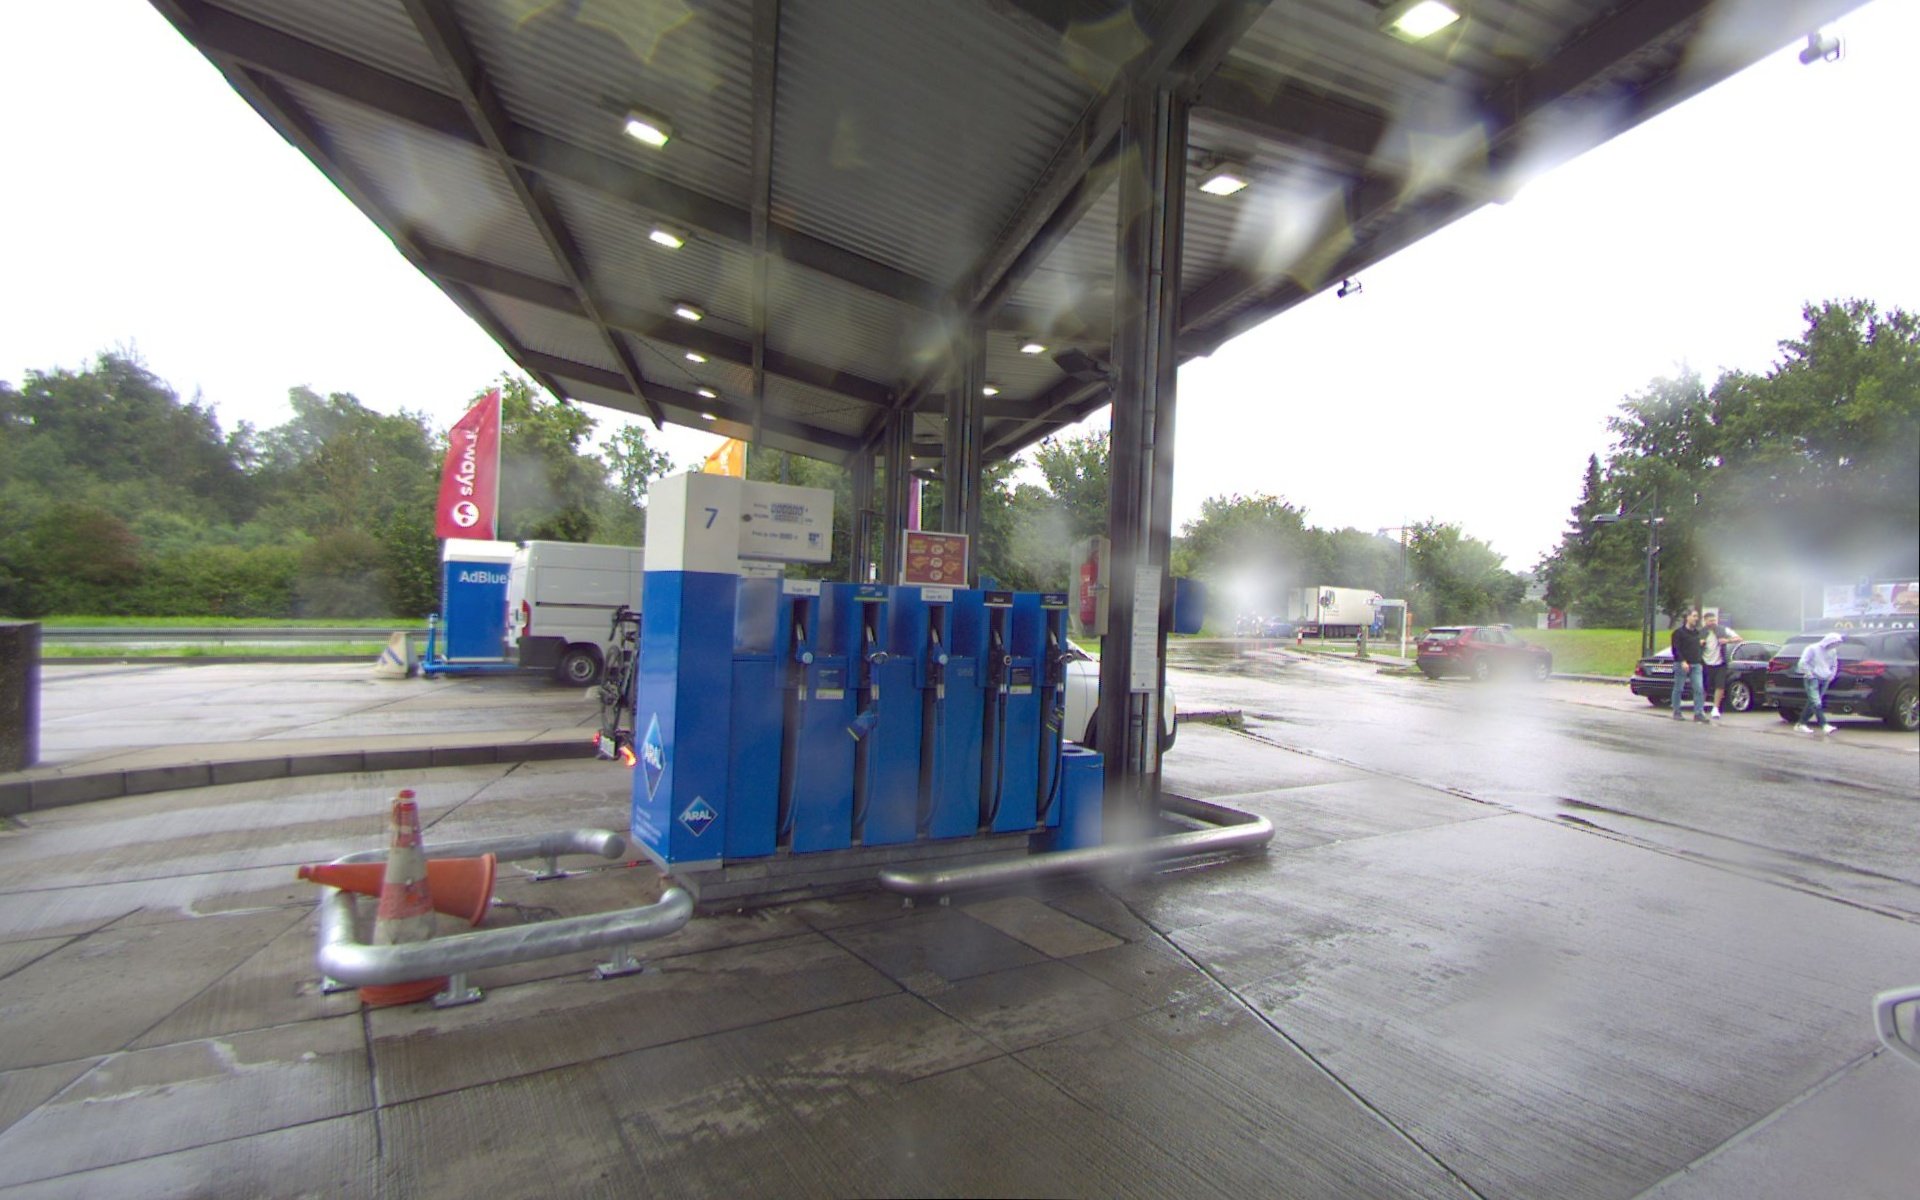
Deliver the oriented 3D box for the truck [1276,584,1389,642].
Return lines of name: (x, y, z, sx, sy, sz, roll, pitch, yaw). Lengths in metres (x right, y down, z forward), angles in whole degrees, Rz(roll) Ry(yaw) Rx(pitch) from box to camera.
truck: (31.874, 1.194, 85.147, 3.498, 4.397, 16.922, 2, 0, 40)

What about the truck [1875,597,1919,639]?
truck: (68.850, 1.329, 71.699, 5.285, 2.959, 2.191, 2, 0, -5)

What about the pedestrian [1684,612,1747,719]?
pedestrian: (14.034, 1.203, 18.653, 0.946, 1.912, 0.696, 2, 0, -39)

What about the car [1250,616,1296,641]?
car: (22.899, 2.069, 73.431, 1.787, 1.704, 3.934, 2, 0, 40)

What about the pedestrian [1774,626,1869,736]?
pedestrian: (13.604, 1.255, 15.888, 0.690, 1.653, 0.954, 2, 0, 6)

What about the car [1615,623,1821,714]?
car: (15.941, 1.359, 21.085, 4.293, 1.734, 2.007, 1, -2, -31)

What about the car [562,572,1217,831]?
car: (-0.425, 0.703, 8.451, 5.210, 1.629, 1.852, 2, 0, -30)

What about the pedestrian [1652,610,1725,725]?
pedestrian: (12.652, 1.143, 17.463, 0.690, 1.912, 0.894, 2, 0, 13)

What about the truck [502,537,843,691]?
truck: (-5.338, 0.296, 18.933, 5.793, 2.527, 2.221, 2, 0, -30)

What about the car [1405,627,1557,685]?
car: (16.075, 1.674, 30.996, 4.283, 1.666, 1.933, 1, -2, -25)

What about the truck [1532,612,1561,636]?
truck: (81.902, 3.363, 140.217, 2.446, 3.126, 7.327, 2, 0, 38)

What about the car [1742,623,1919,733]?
car: (16.172, 1.273, 17.462, 4.274, 1.734, 2.016, 1, -1, -18)
